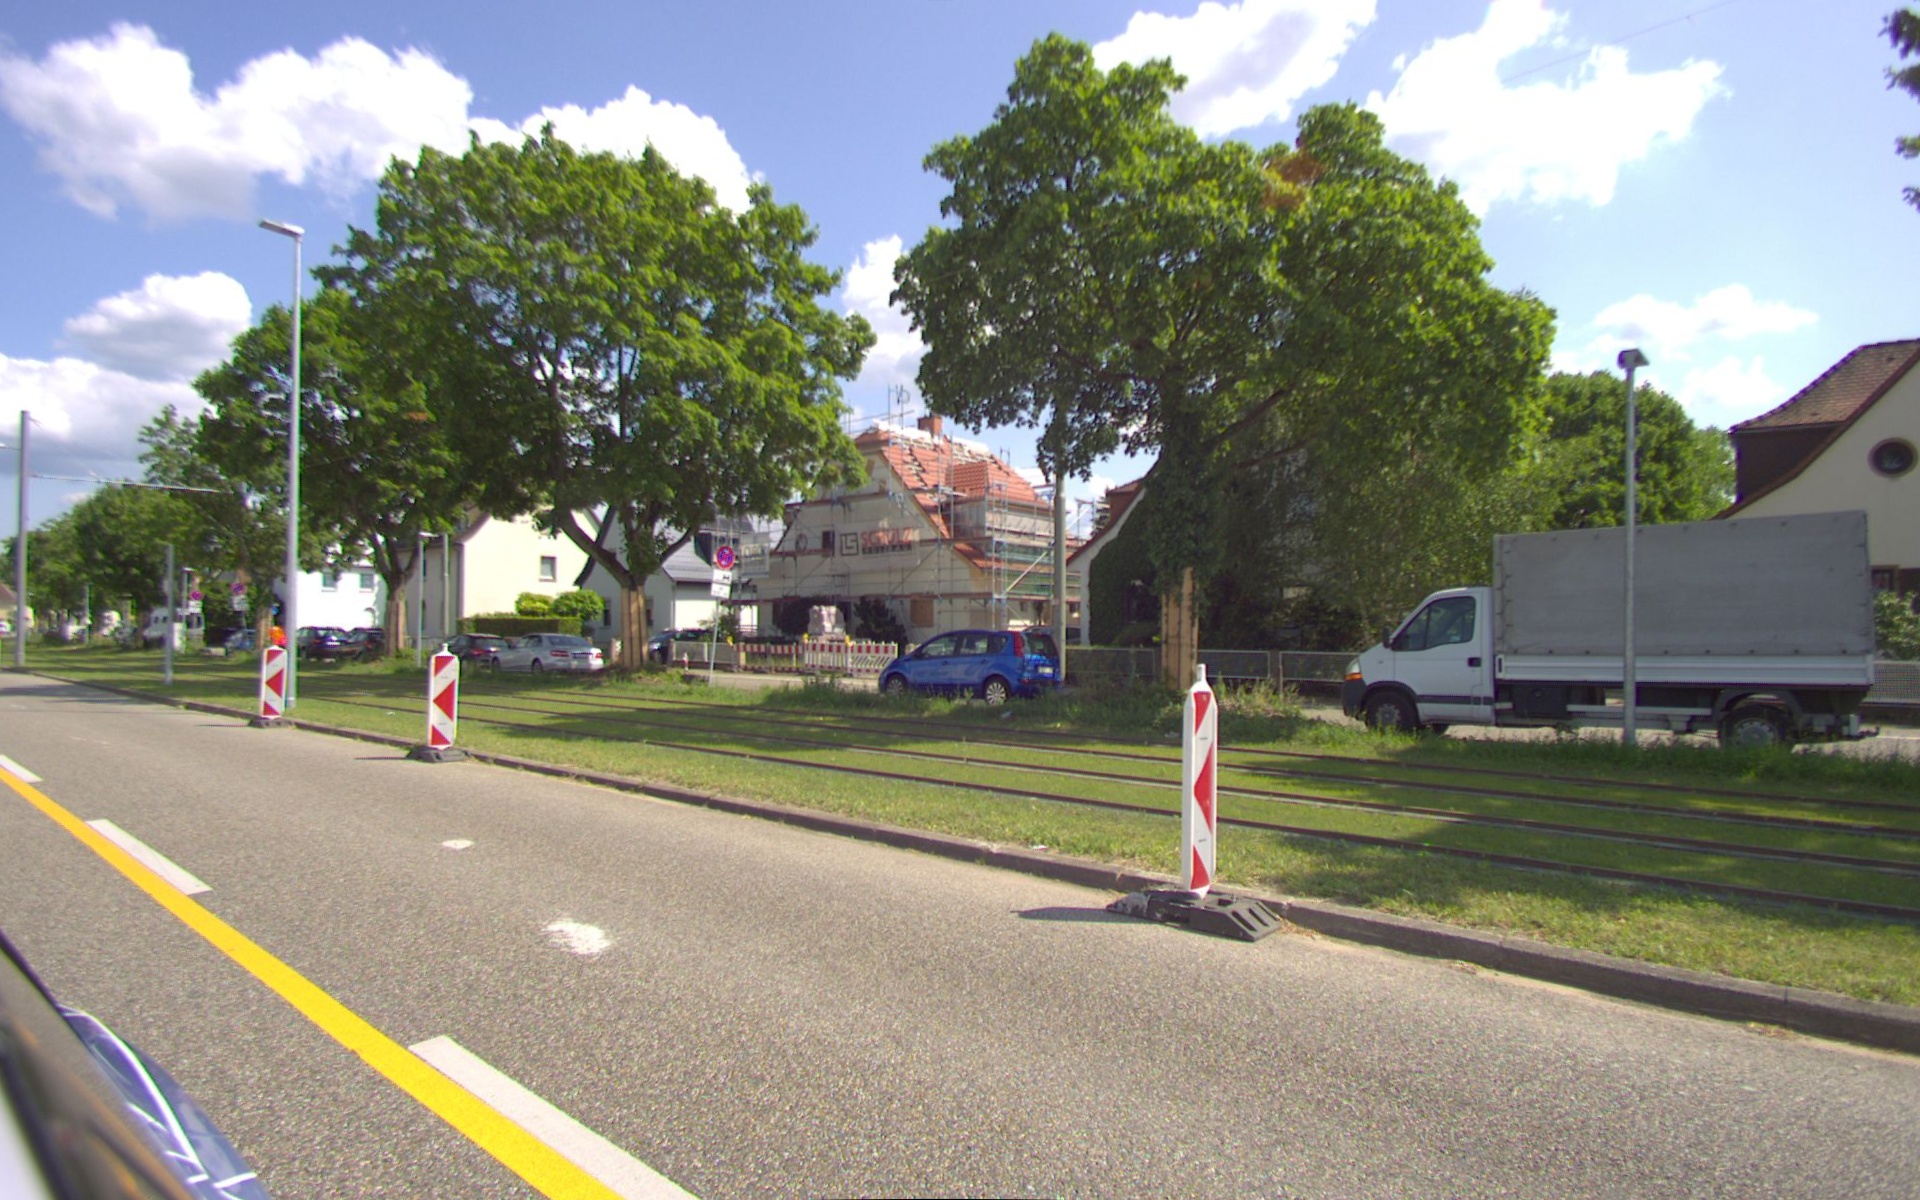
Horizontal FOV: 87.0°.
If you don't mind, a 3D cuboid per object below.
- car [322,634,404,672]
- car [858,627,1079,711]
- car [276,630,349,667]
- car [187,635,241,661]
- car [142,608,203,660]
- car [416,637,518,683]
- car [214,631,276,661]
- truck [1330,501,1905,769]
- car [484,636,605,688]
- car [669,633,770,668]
[{"bbox_3d":[-25.182,2.255,42.644,4.403,1.497,1.680,-3,-3,41],"label":"car"},{"bbox_3d":[0.076,1.355,20.288,4.403,1.497,1.680,-3,-3,41],"label":"car"},{"bbox_3d":[-29.497,2.227,46.067,4.403,1.584,1.680,-3,-3,41],"label":"car"},{"bbox_3d":[-44.480,2.877,60.322,4.403,1.497,1.680,-3,-3,41],"label":"car"},{"bbox_3d":[-49.519,2.163,63.599,5.080,3.061,2.108,-3,-3,41],"label":"car"},{"bbox_3d":[-17.523,2.122,35.886,4.403,1.497,1.680,-3,-3,41],"label":"car"},{"bbox_3d":[-37.479,2.429,53.026,4.403,1.497,1.680,-3,-3,41],"label":"car"},{"bbox_3d":[8.297,0.458,13.396,5.971,2.802,2.242,-2,-3,41],"label":"truck"},{"bbox_3d":[-13.119,1.935,31.847,4.520,1.497,1.765,-4,-3,42],"label":"car"},{"bbox_3d":[-10.929,2.296,46.204,1.702,1.497,4.345,-3,-3,41],"label":"car"}]
